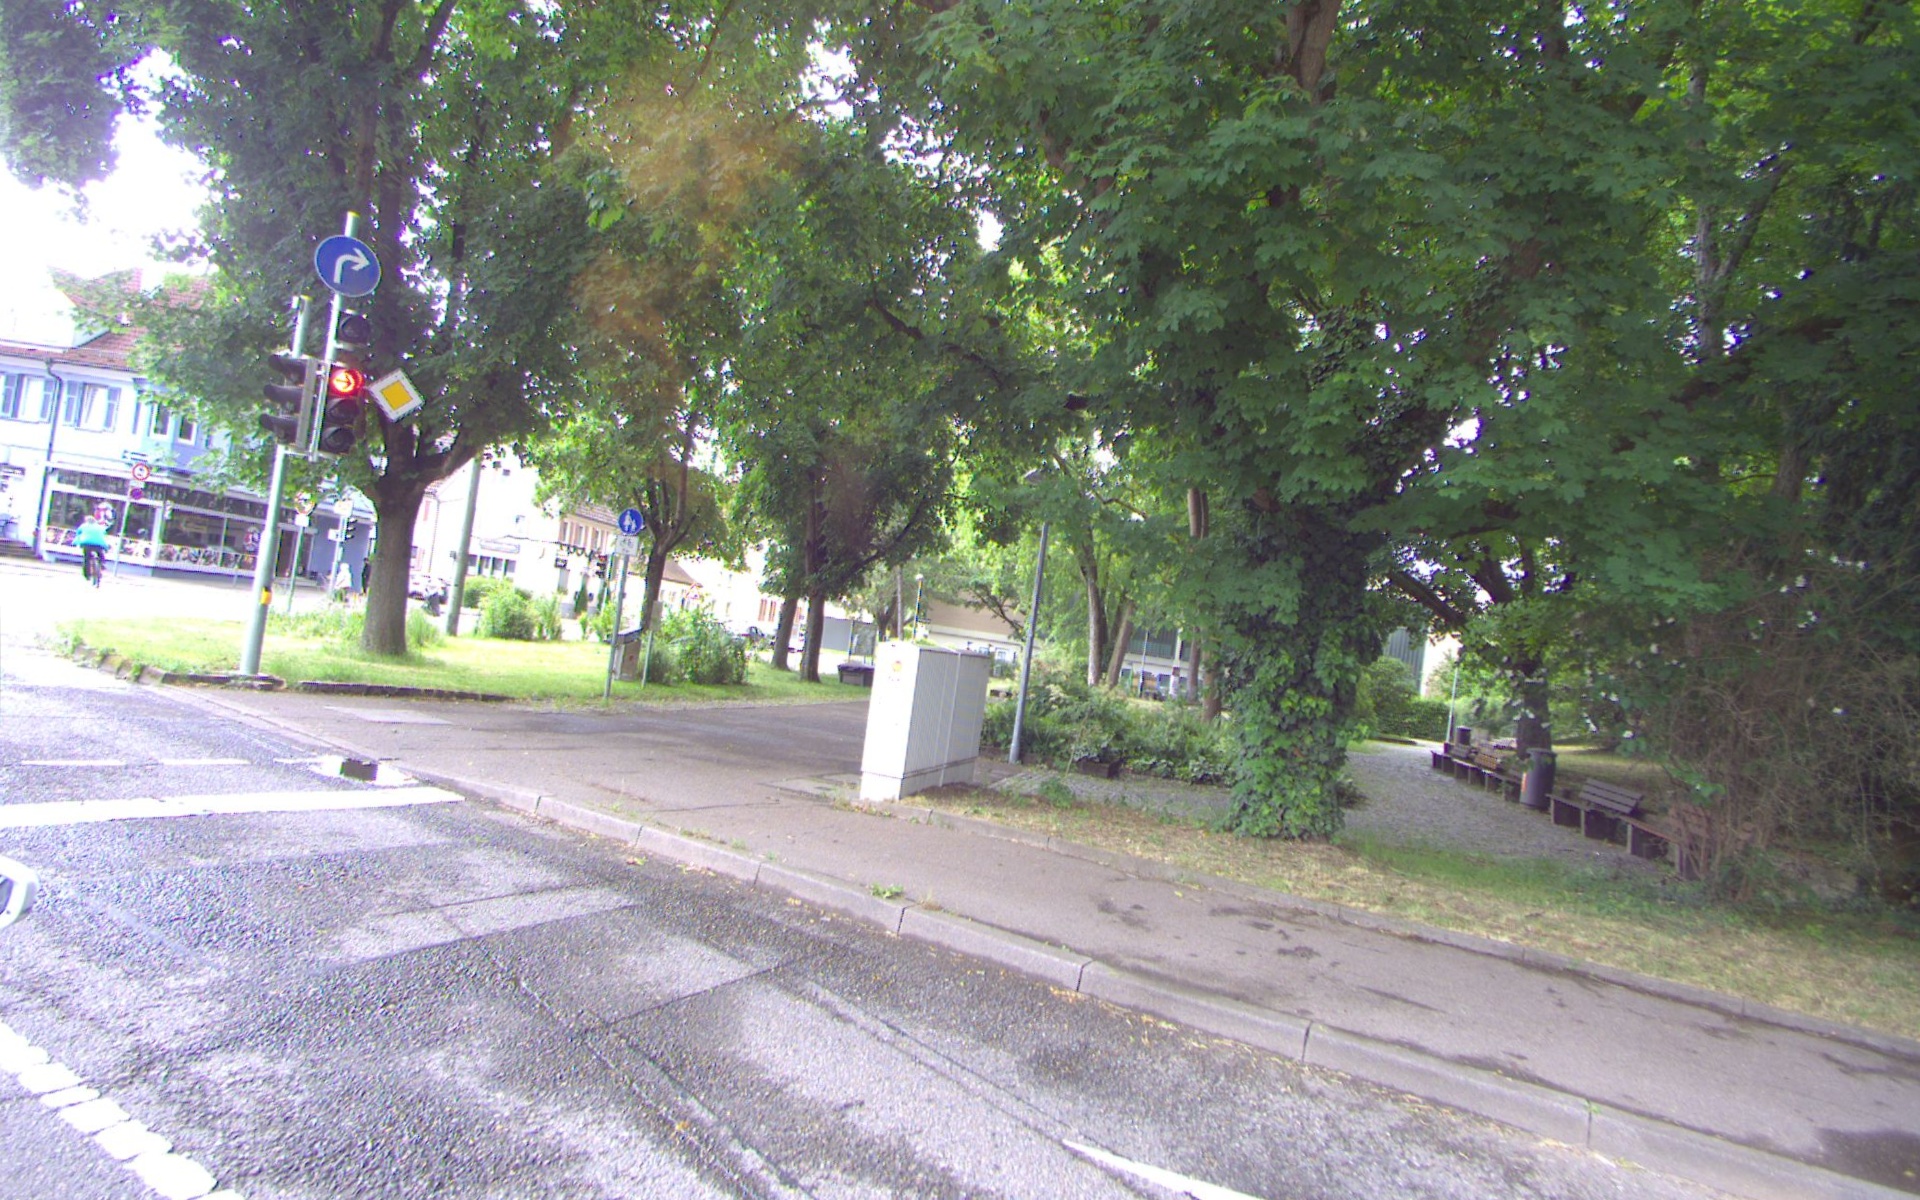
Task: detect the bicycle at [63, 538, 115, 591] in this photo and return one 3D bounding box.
[{"bbox_3d":[-22.276,-0.926,25.731,0.871,1.162,1.930,9,-2,-41],"label":"bicycle"}]

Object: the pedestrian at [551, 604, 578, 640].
[{"bbox_3d":[-13.067,0.736,33.209,0.506,1.093,0.507,6,-1,17],"label":"pedestrian"}]

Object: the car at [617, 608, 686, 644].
[{"bbox_3d":[-13.459,1.168,44.015,1.436,1.282,3.014,7,-2,13],"label":"car"}]

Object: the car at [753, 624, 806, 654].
[{"bbox_3d":[-10.705,2.334,59.911,1.618,1.474,3.740,7,-2,13],"label":"car"}]

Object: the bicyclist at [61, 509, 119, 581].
[{"bbox_3d":[-22.094,-1.383,25.569,0.911,1.670,0.978,8,-2,-39],"label":"bicyclist"}]

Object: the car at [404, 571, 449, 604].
[{"bbox_3d":[-28.179,-0.696,53.164,1.870,1.406,3.589,9,-2,-28],"label":"car"}]

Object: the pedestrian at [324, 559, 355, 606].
[{"bbox_3d":[-22.300,-0.622,36.176,0.725,1.578,0.763,7,-1,-27],"label":"pedestrian"}]

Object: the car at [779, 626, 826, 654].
[{"bbox_3d":[-10.279,2.650,66.042,1.618,1.474,3.740,7,-2,13],"label":"car"}]

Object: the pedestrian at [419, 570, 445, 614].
[{"bbox_3d":[-19.998,-0.296,38.088,0.688,1.578,0.662,7,-1,-27],"label":"pedestrian"}]

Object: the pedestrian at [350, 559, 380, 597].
[{"bbox_3d":[-26.888,-0.989,45.446,0.732,1.578,0.673,6,-1,17],"label":"pedestrian"}]

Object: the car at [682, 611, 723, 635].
[{"bbox_3d":[-19.032,1.741,74.450,1.736,1.463,3.865,7,-2,2],"label":"car"}]

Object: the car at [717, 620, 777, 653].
[{"bbox_3d":[-11.568,2.011,54.937,1.618,1.474,3.740,7,-2,13],"label":"car"}]
